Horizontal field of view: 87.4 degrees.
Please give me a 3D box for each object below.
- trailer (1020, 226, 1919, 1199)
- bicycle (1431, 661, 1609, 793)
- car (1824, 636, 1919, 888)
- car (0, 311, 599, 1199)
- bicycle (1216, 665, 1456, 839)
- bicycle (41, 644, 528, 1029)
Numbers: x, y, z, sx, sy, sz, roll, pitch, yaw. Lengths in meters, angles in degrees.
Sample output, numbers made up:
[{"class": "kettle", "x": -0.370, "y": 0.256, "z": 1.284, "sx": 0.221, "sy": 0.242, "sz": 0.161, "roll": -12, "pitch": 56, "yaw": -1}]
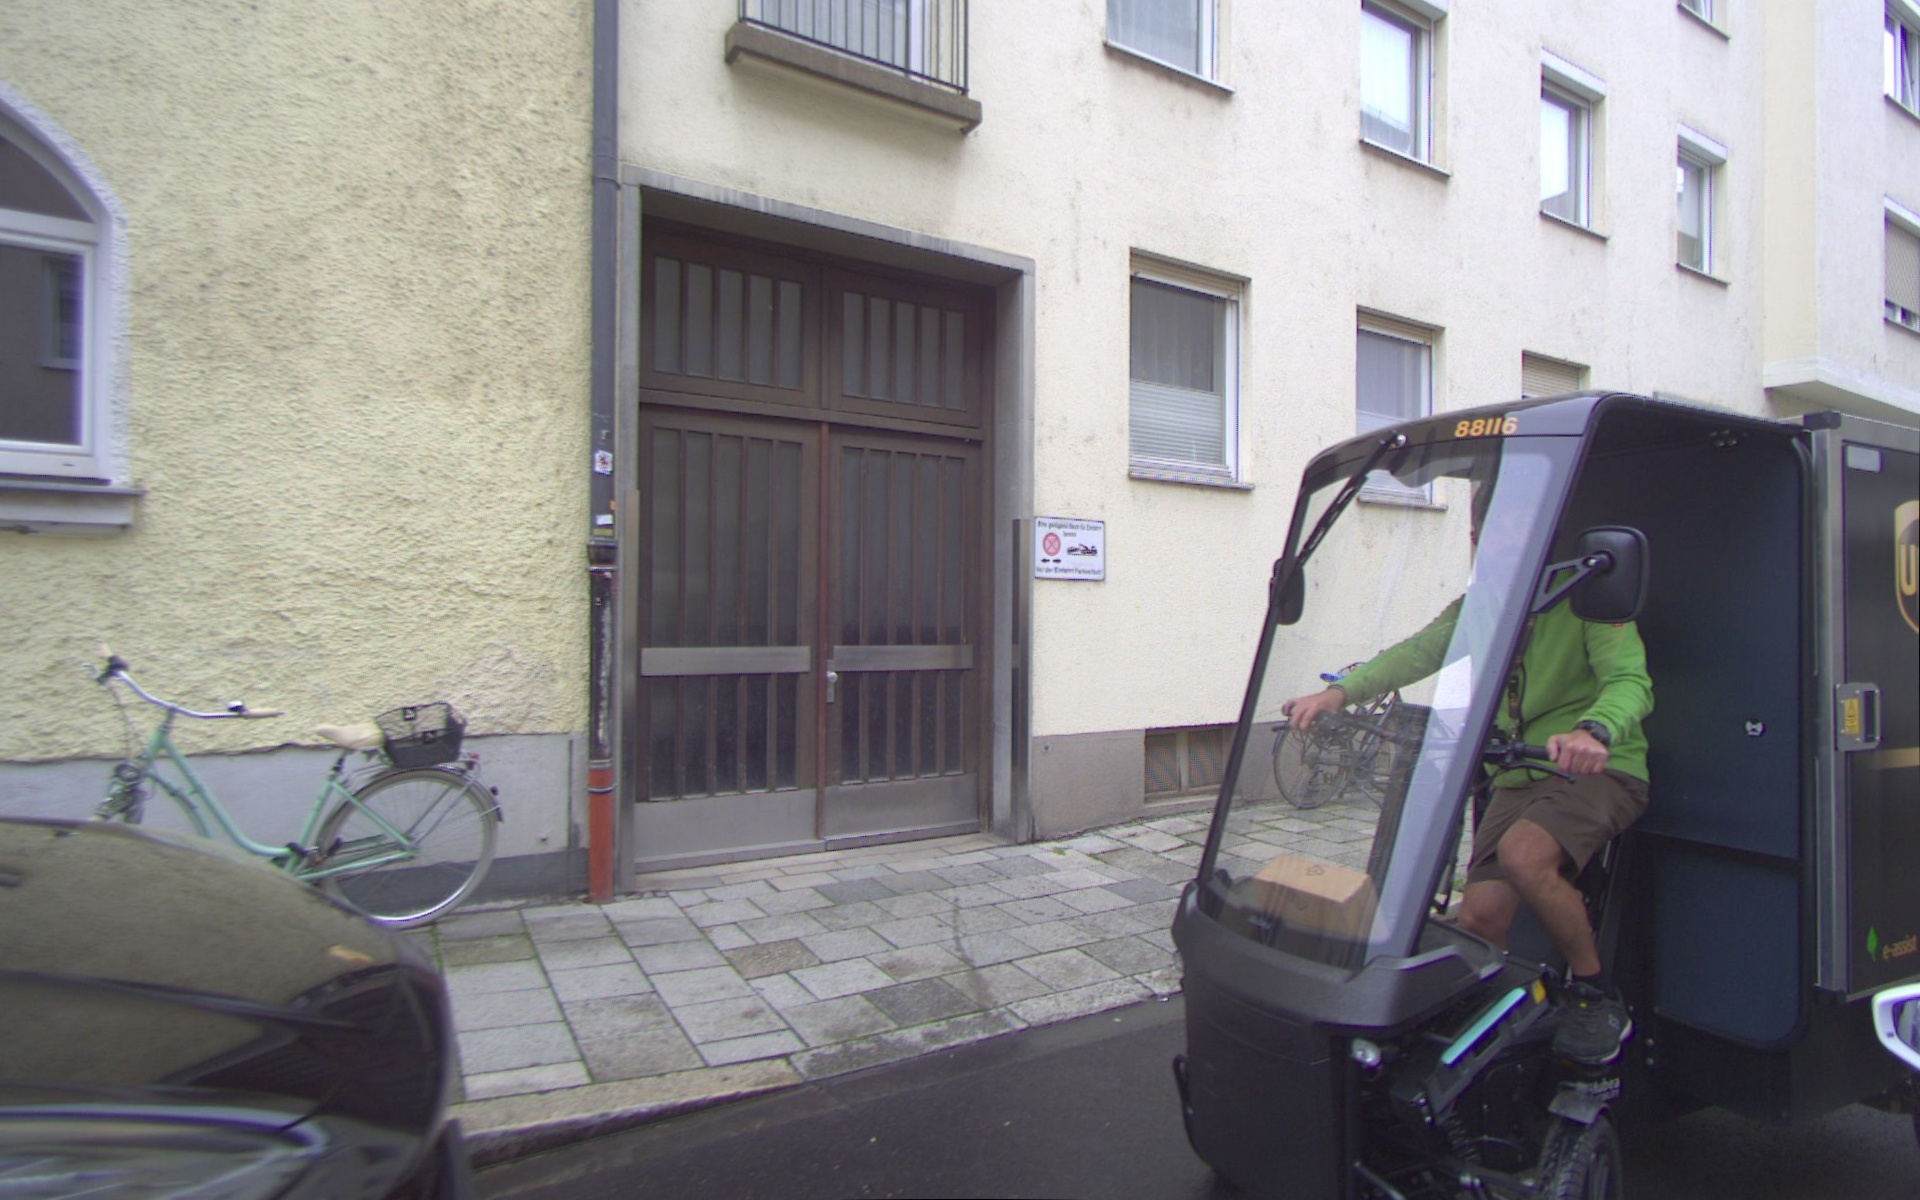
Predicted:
[{"class": "trailer", "x": 1.937, "y": 0.552, "z": 2.904, "sx": 3.276, "sy": 2.144, "sz": 1.350, "roll": 2, "pitch": -1, "yaw": -28}, {"class": "bicycle", "x": 4.928, "y": 1.065, "z": 8.799, "sx": 1.839, "sy": 1.012, "sz": 0.510, "roll": 2, "pitch": 1, "yaw": -32}, {"class": "car", "x": 7.362, "y": 0.974, "z": 6.440, "sx": 3.758, "sy": 1.454, "sz": 1.644, "roll": 2, "pitch": -2, "yaw": -30}, {"class": "car", "x": -2.662, "y": 0.628, "z": 0.606, "sx": 4.361, "sy": 1.682, "sz": 1.871, "roll": 1, "pitch": -2, "yaw": -29}, {"class": "bicycle", "x": 2.770, "y": 1.044, "z": 7.340, "sx": 1.794, "sy": 1.041, "sz": 0.726, "roll": 1, "pitch": 0, "yaw": -33}, {"class": "bicycle", "x": -2.665, "y": 0.851, "z": 4.131, "sx": 1.535, "sy": 1.296, "sz": 0.590, "roll": 2, "pitch": 1, "yaw": -32}]
